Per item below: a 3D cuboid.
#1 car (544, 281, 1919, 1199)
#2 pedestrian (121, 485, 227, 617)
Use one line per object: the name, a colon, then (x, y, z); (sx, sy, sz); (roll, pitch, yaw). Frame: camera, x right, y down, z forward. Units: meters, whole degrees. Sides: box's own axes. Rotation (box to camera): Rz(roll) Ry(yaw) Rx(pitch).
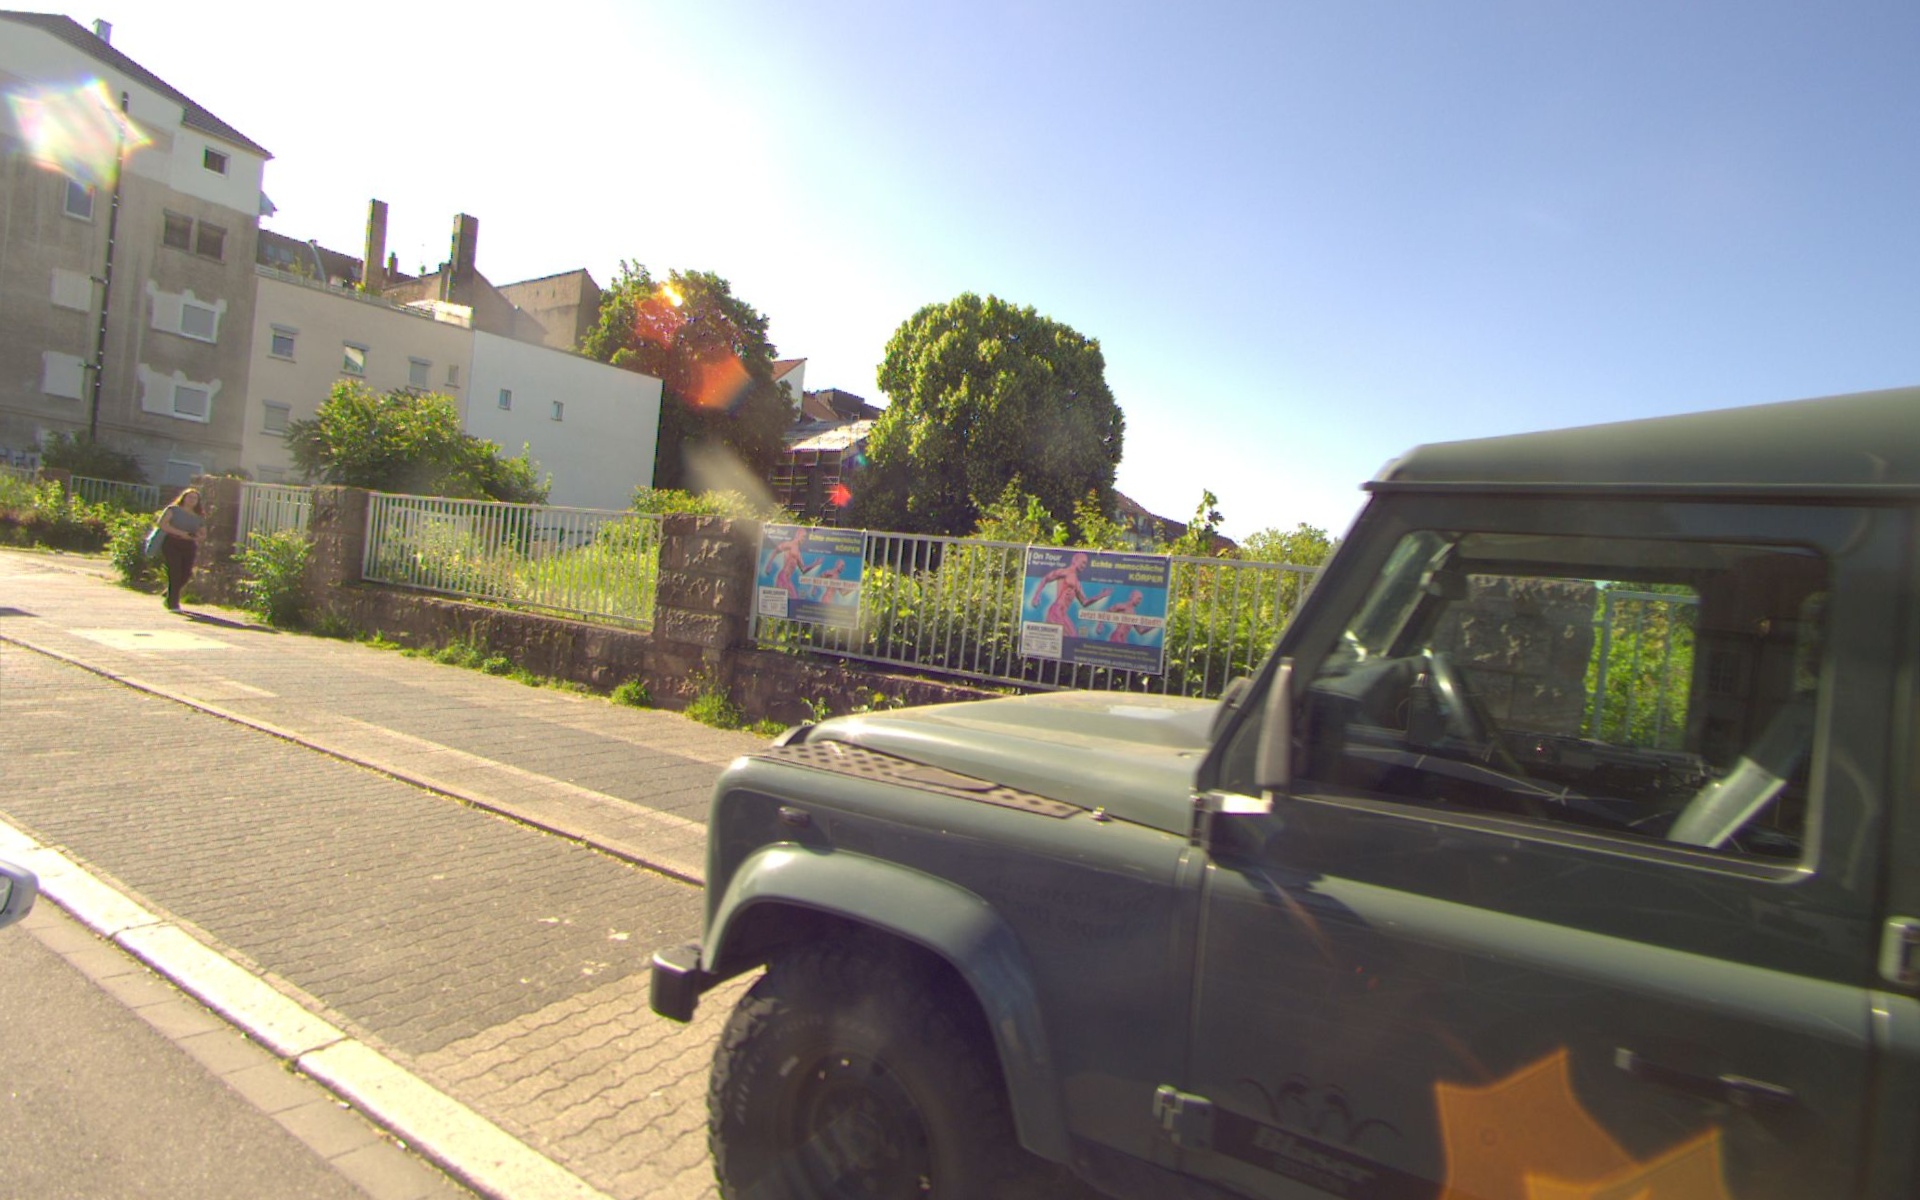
car: (1.439, 0.652, 2.031); (4.697, 2.040, 1.661); (6, 1, 32)
pedestrian: (-10.313, -0.640, 13.203); (0.882, 1.604, 0.744); (7, 2, 32)
